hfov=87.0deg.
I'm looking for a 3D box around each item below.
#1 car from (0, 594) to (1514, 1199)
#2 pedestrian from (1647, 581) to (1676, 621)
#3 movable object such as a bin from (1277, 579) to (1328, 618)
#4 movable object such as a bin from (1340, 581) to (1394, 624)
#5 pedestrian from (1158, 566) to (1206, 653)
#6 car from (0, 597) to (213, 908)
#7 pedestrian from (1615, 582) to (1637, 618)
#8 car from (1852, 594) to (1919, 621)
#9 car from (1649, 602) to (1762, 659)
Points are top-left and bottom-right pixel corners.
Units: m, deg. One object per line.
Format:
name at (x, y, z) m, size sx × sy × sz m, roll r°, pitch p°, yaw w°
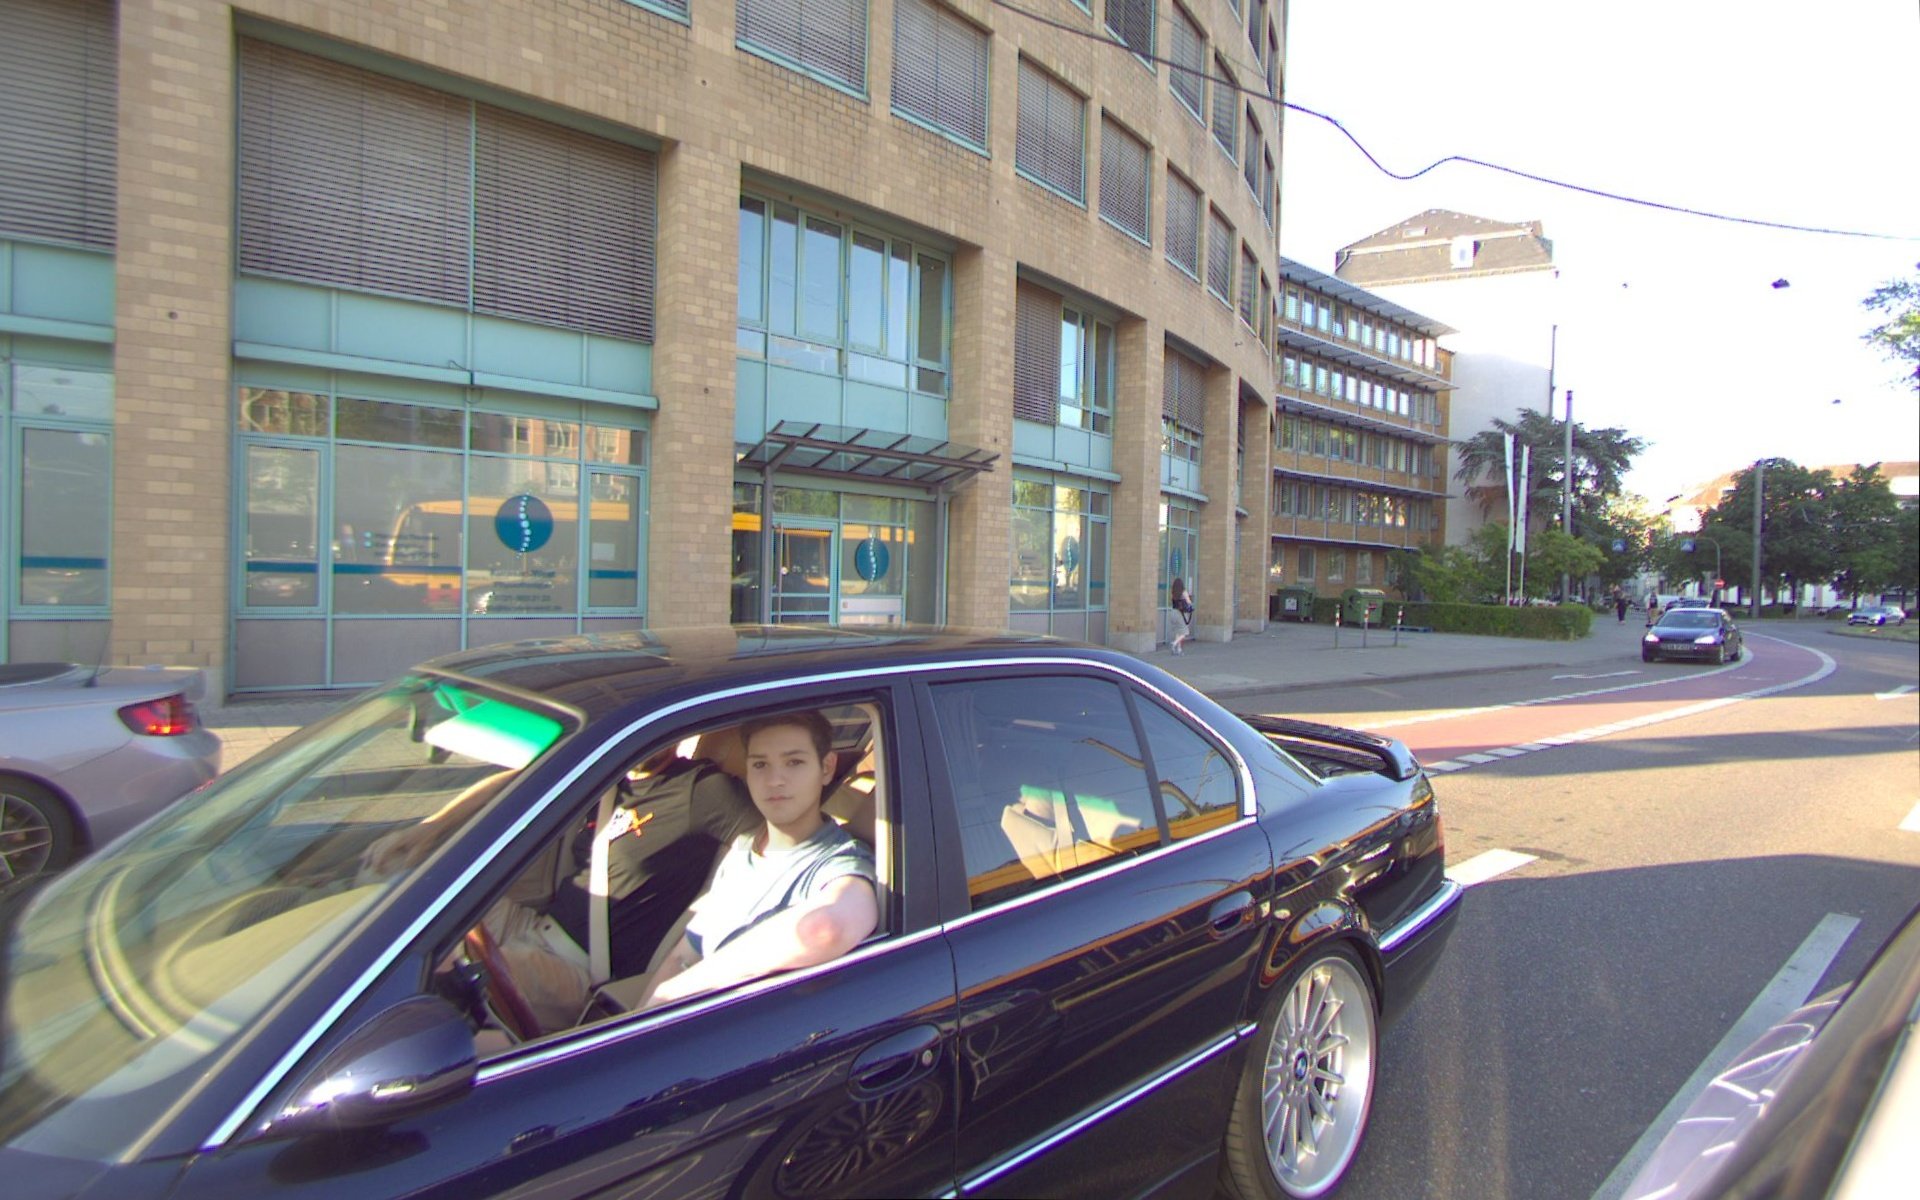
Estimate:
car at (-0.726, 0.703, 2.310) m, size 4.656 × 1.402 × 1.997 m, roll 0°, pitch 1°, yaw -41°
pedestrian at (34.490, 0.037, 49.757) m, size 0.901 × 1.918 × 1.118 m, roll 1°, pitch 1°, yaw 22°
movable object such as a bin at (13.346, -0.076, 39.484) m, size 1.310 × 1.477 × 1.425 m, roll 0°, pitch 1°, yaw -43°
movable object such as a bin at (14.863, 0.077, 36.939) m, size 1.311 × 1.477 × 1.424 m, roll 0°, pitch 1°, yaw -45°
pedestrian at (4.461, 0.181, 20.354) m, size 0.702 × 1.702 × 0.626 m, roll 0°, pitch 1°, yaw -44°
car at (-5.917, 0.690, 4.445) m, size 4.152 × 1.403 × 1.747 m, roll 0°, pitch 0°, yaw -40°
pedestrian at (33.959, -0.009, 51.615) m, size 0.711 × 1.830 × 0.728 m, roll 0°, pitch 1°, yaw -41°
car at (63.430, 0.495, 69.251) m, size 3.916 × 1.771 × 2.004 m, roll 1°, pitch 1°, yaw -23°
car at (20.349, 0.787, 27.581) m, size 3.932 × 1.404 × 1.757 m, roll 0°, pitch 1°, yaw -42°
